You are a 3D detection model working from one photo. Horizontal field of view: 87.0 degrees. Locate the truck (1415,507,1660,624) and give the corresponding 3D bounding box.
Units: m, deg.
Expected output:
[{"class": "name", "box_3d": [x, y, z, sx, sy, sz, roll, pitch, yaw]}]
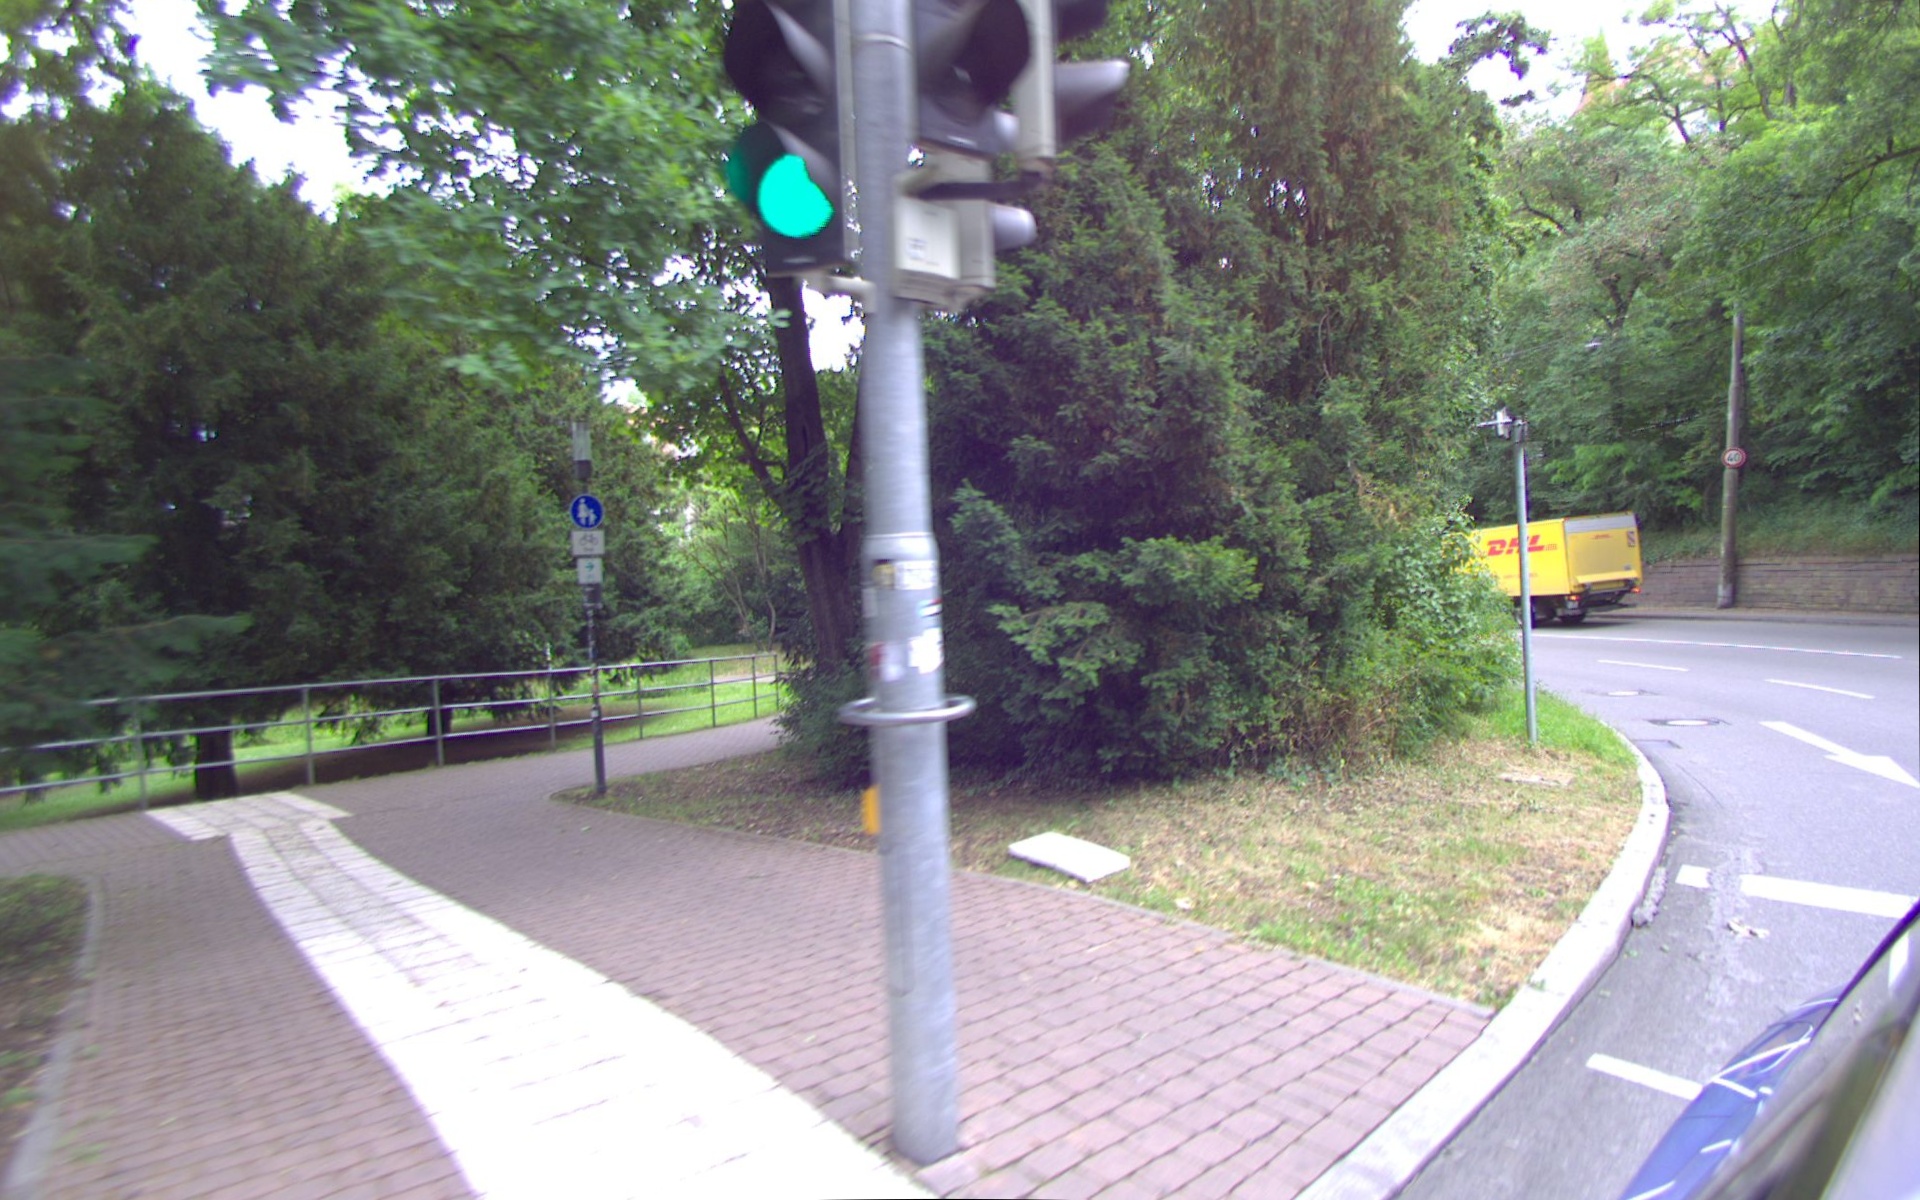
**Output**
[{"class": "truck", "box_3d": [18.760, -1.013, 33.614, 2.702, 3.342, 7.594, -3, 0, -9]}]
